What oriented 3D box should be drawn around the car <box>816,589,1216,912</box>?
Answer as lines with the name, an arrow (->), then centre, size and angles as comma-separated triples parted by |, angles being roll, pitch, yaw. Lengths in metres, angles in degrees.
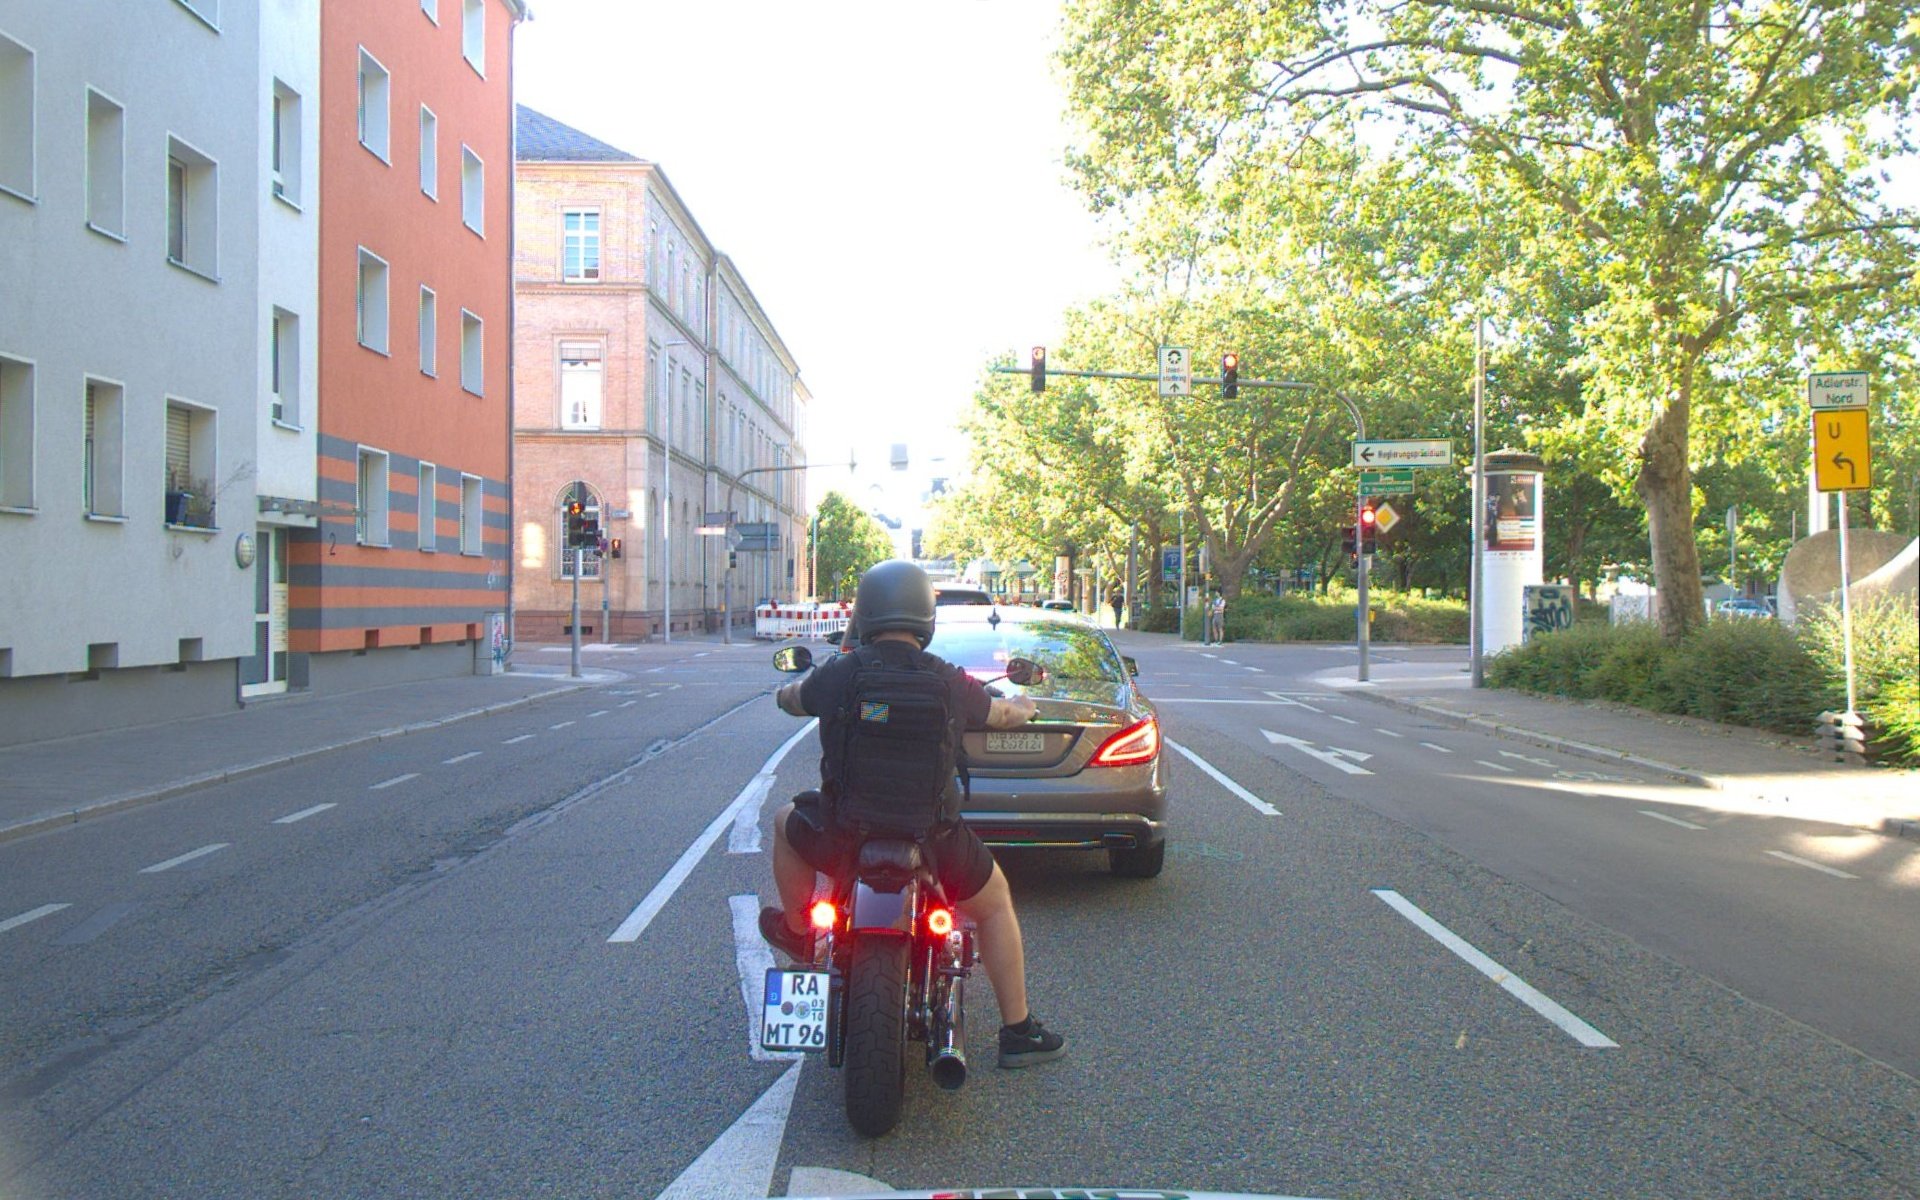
car -> 0.235, 0.694, 9.622 | 1.844, 1.475, 3.819 | 1, 0, -1

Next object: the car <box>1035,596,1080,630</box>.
car -> 4.332, 0.576, 73.993 | 1.740, 1.453, 3.801 | 0, 0, -1

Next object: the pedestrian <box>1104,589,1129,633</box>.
pedestrian -> 7.038, 0.481, 74.322 | 0.741, 1.943, 0.917 | 1, -1, -29

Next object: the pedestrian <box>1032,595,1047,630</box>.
pedestrian -> 4.731, 0.754, 98.535 | 0.797, 2.049, 1.270 | 1, 0, -1

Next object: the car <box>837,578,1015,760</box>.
car -> -0.331, 0.606, 16.730 | 1.588, 1.622, 3.999 | 0, 0, -1

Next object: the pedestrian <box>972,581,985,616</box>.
pedestrian -> 1.115, -0.090, 100.915 | 0.748, 2.087, 0.712 | 1, -1, -1

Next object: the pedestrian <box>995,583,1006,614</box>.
pedestrian -> 2.690, -0.104, 109.415 | 0.643, 2.049, 0.933 | 1, -1, -1

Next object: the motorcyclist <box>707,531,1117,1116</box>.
motorcyclist -> -0.142, 0.631, 5.293 | 1.125, 1.626, 1.288 | 1, 0, -1

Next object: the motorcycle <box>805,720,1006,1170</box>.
motorcycle -> -0.156, 0.969, 5.300 | 0.503, 1.020, 2.013 | 1, 0, -1

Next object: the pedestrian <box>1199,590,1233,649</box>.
pedestrian -> 8.213, 0.611, 53.078 | 0.980, 1.858, 1.077 | 1, 0, 5
